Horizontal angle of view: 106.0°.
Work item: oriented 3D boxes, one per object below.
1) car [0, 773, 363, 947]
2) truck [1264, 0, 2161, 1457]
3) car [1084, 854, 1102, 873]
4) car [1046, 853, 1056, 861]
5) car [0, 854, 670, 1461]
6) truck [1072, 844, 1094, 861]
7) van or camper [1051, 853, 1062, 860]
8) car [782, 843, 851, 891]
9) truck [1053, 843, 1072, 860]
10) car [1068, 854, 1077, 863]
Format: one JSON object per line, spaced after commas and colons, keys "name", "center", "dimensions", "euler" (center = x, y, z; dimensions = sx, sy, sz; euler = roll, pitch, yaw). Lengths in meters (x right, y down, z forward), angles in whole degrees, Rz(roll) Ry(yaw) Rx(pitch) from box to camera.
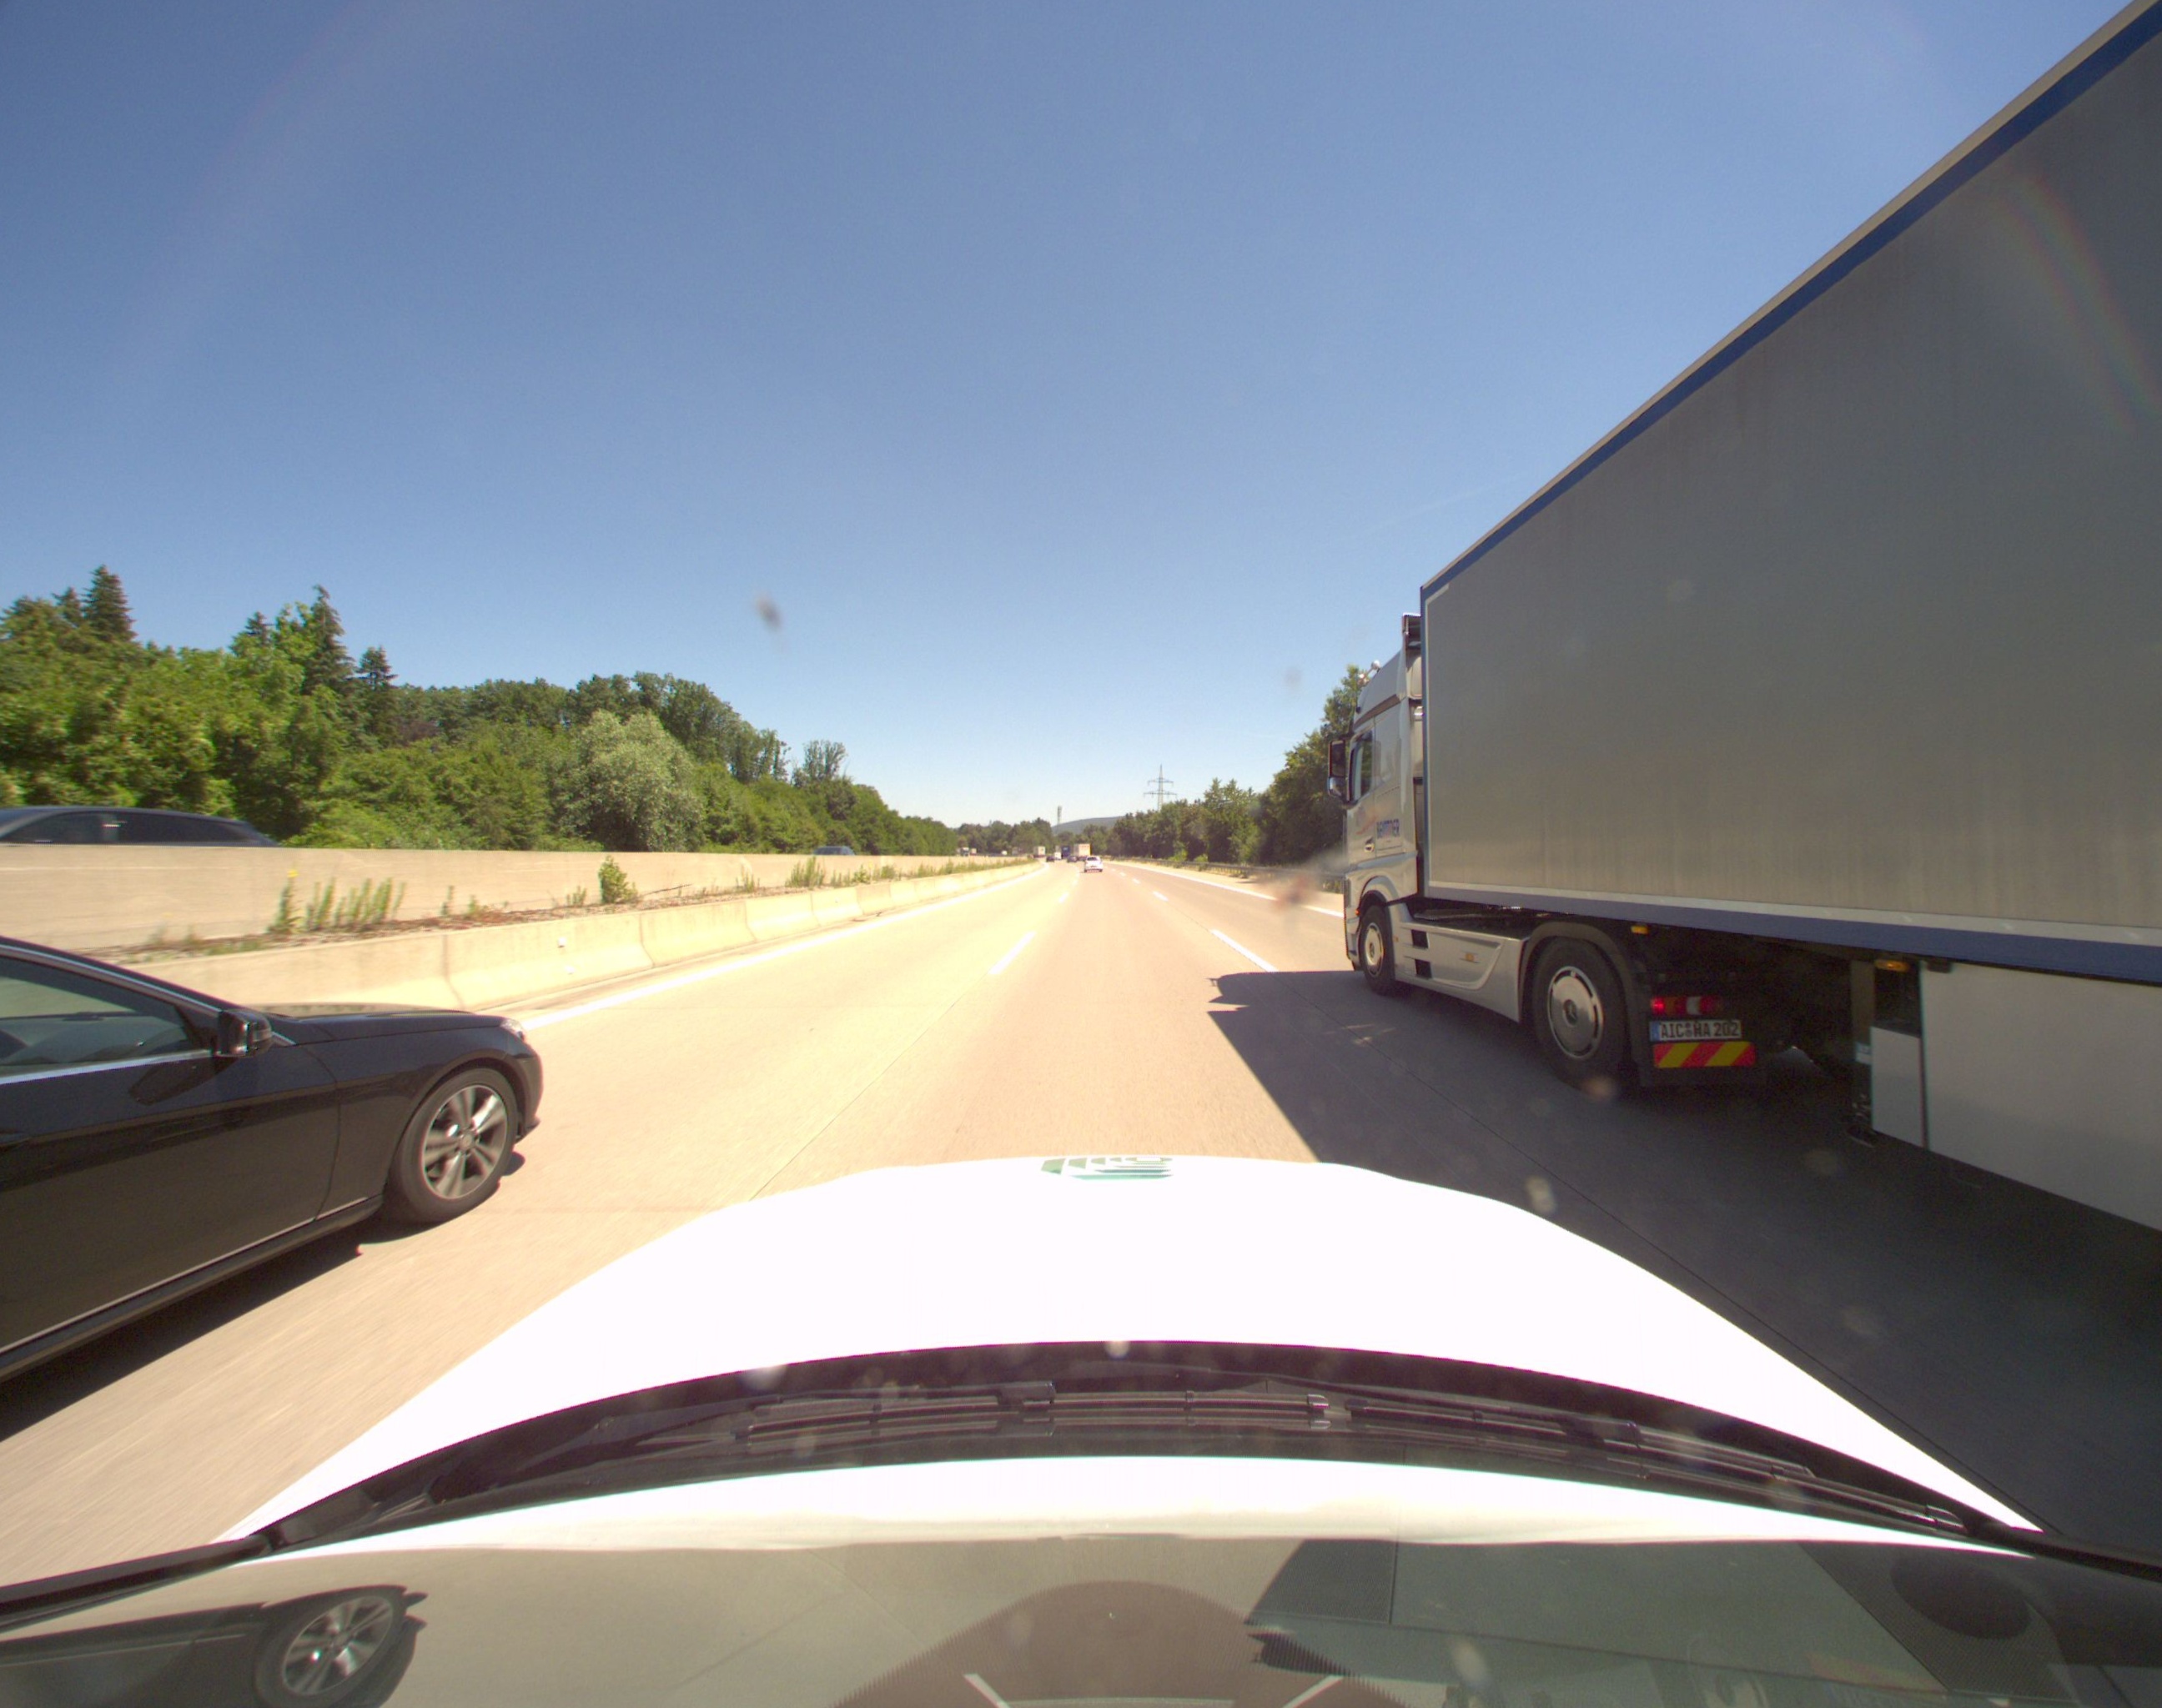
{"name": "car", "center": [-12.257, 0.078, 11.283], "dimensions": [1.427, 2.014, 3.521], "euler": [-1, 0, 1]}
{"name": "truck", "center": [4.401, -1.445, 3.096], "dimensions": [3.564, 5.787, 18.252], "euler": [2, 0, 1]}
{"name": "car", "center": [1.139, 0.865, 77.649], "dimensions": [1.636, 1.662, 3.360], "euler": [3, 0, 1]}
{"name": "car", "center": [-6.777, 0.671, 182.192], "dimensions": [2.016, 1.700, 3.999], "euler": [4, 0, 0]}
{"name": "car", "center": [-3.601, 0.771, 2.356], "dimensions": [1.884, 1.473, 5.604], "euler": [-1, 0, 1]}
{"name": "truck", "center": [0.349, -0.349, 191.974], "dimensions": [3.814, 3.889, 14.129], "euler": [-2, 0, -5]}
{"name": "van or camper", "center": [-6.529, 0.643, 219.167], "dimensions": [1.872, 1.838, 3.977], "euler": [-2, 0, -17]}
{"name": "car", "center": [-11.899, 0.578, 36.912], "dimensions": [1.427, 2.014, 4.788], "euler": [-1, 0, 1]}
{"name": "truck", "center": [-5.464, -0.582, 240.448], "dimensions": [3.905, 4.741, 14.011], "euler": [-2, 0, -8]}
{"name": "car", "center": [-1.711, 0.832, 163.512], "dimensions": [1.608, 1.725, 3.565], "euler": [-2, 0, -6]}
